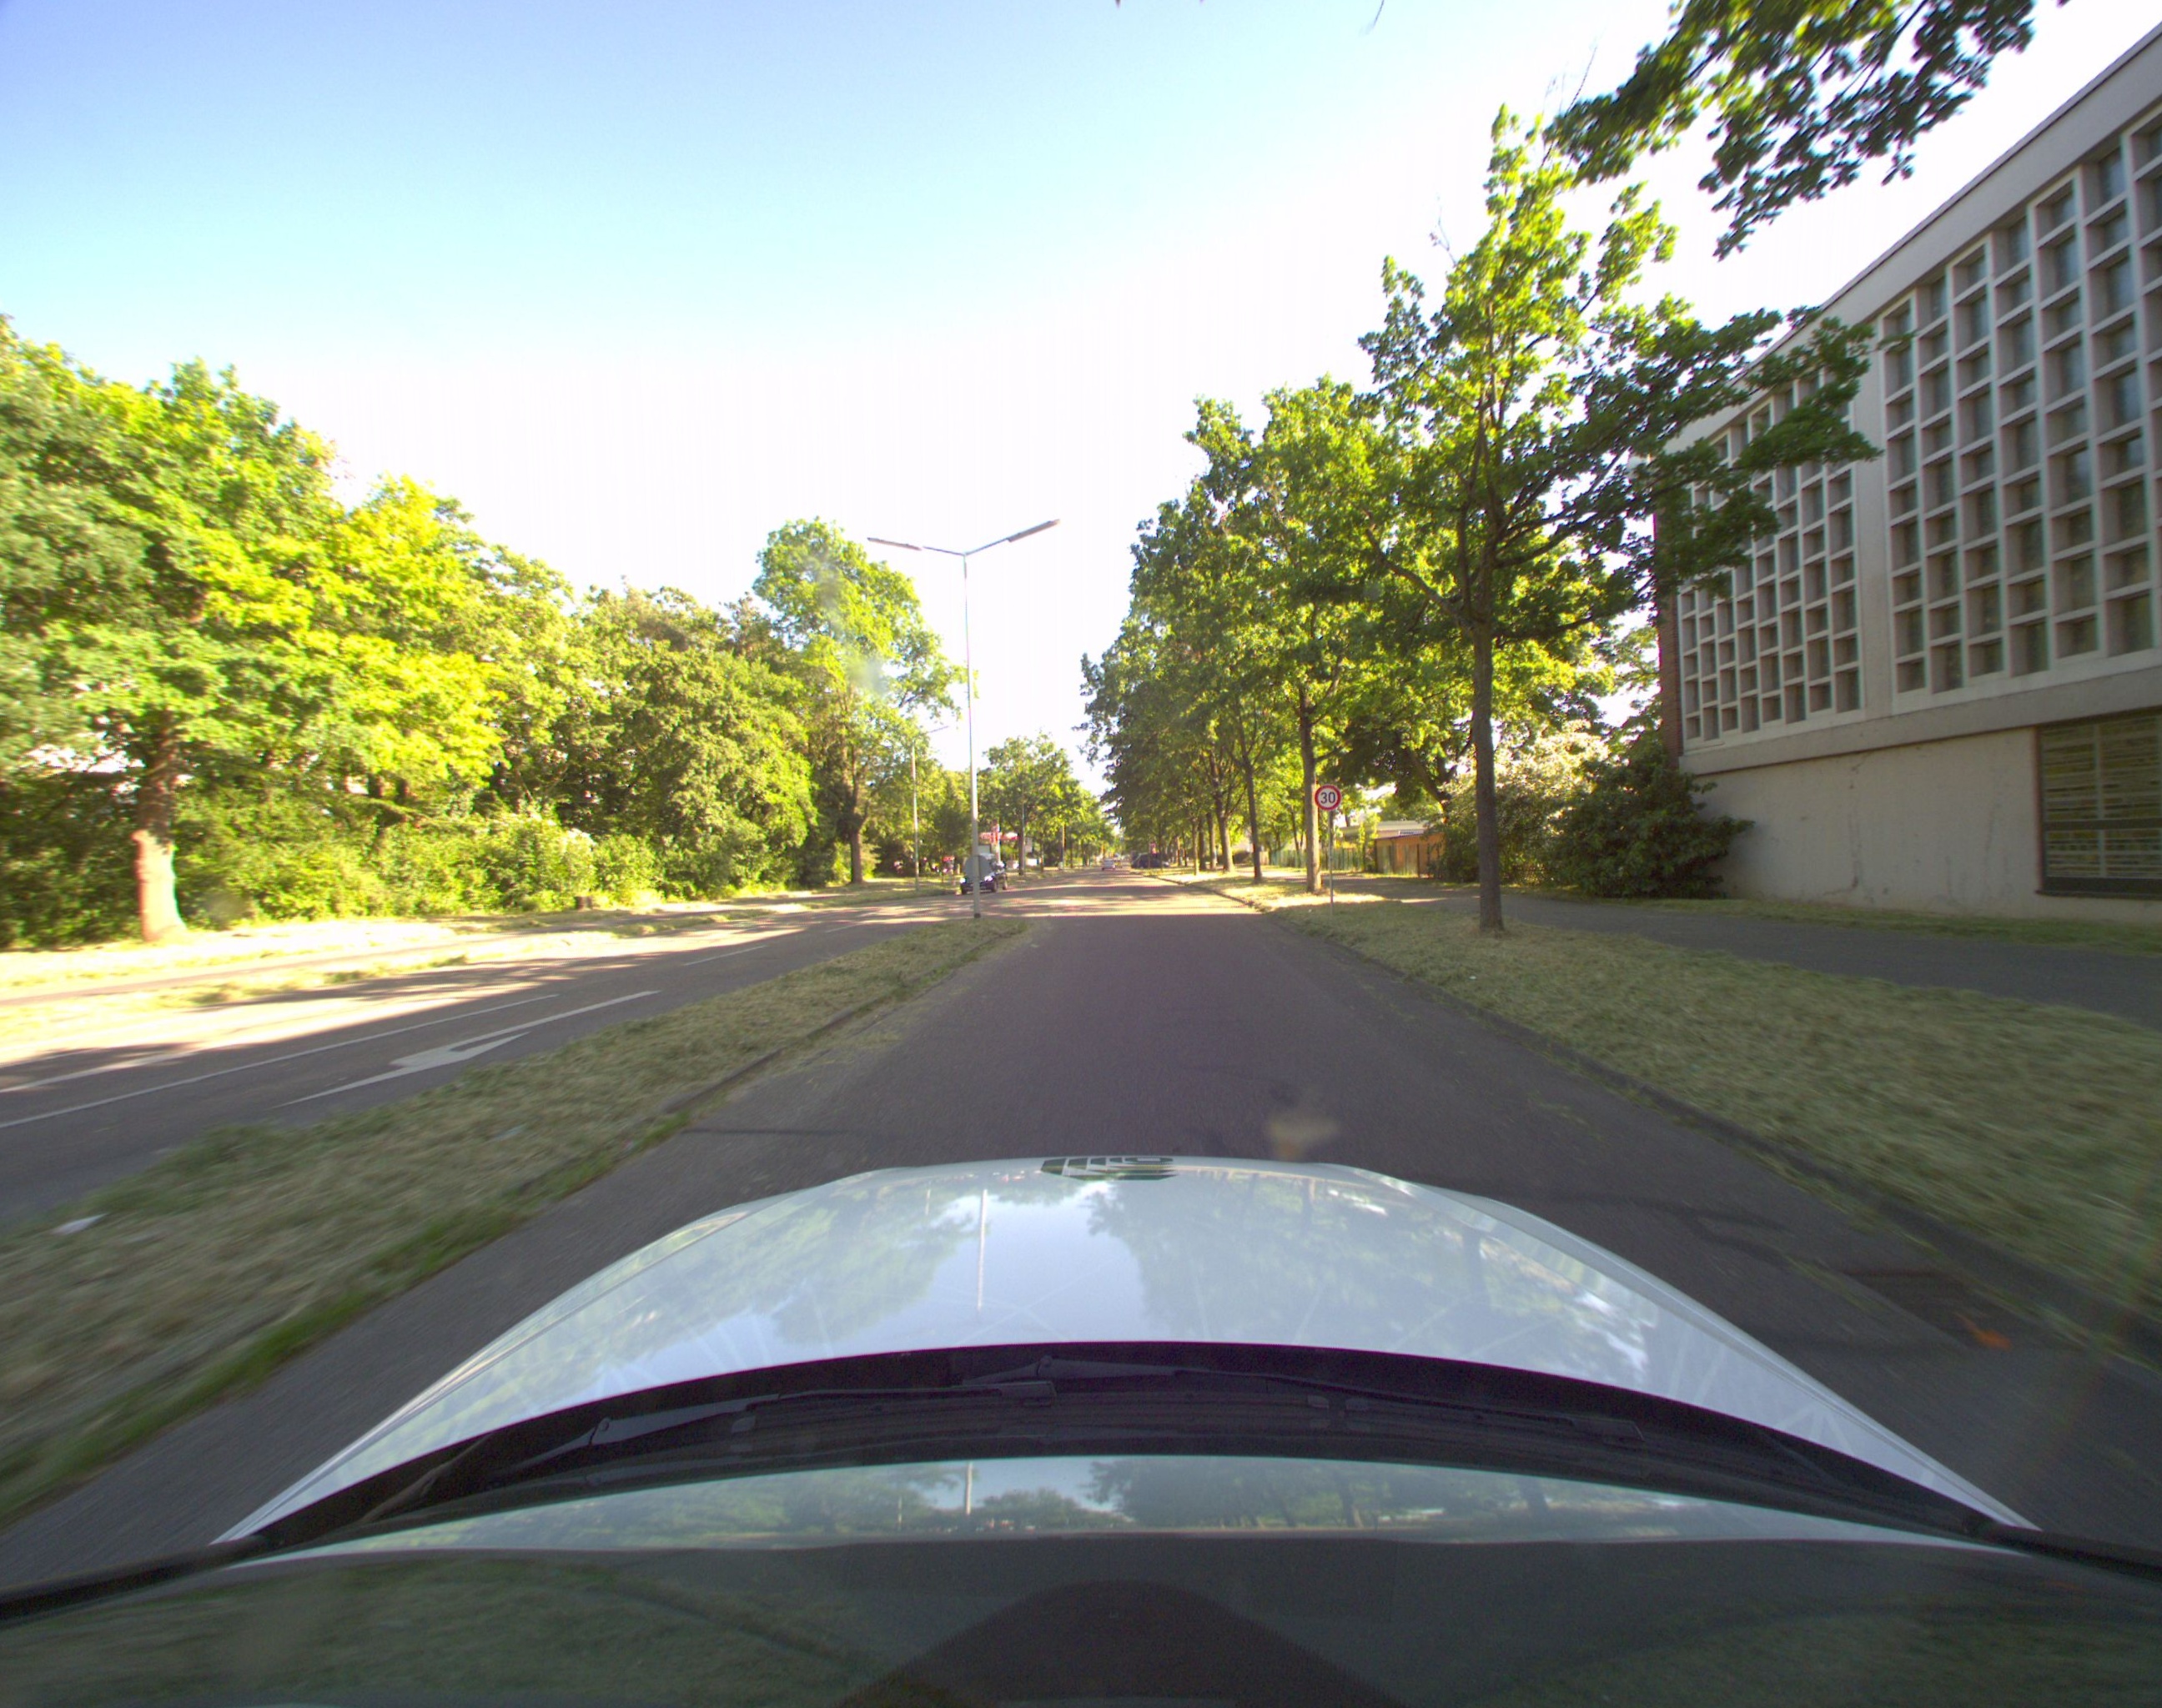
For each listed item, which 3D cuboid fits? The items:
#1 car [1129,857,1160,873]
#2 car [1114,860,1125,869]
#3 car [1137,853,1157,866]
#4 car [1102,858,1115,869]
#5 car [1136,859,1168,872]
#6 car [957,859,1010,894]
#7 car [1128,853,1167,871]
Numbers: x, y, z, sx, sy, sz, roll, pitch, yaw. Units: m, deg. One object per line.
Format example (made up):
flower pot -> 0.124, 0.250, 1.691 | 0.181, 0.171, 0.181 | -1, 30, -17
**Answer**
car -> 7.881, 1.387, 101.260 | 3.639, 1.797, 1.318 | -2, -2, 2
car -> 6.270, 1.719, 133.109 | 1.654, 1.337, 3.666 | -2, -2, 2
car -> 12.048, 0.985, 148.319 | 3.554, 2.051, 1.633 | -2, -4, 2
car -> 3.695, 1.287, 107.934 | 1.654, 1.337, 3.666 | -2, -2, 2
car -> 8.384, 1.326, 95.769 | 3.639, 1.398, 1.318 | -2, -2, 2
car -> -5.195, 1.167, 43.848 | 1.830, 1.708, 4.511 | -3, -1, 5
car -> 8.050, 0.934, 98.745 | 4.485, 1.953, 1.688 | -2, -2, 2
